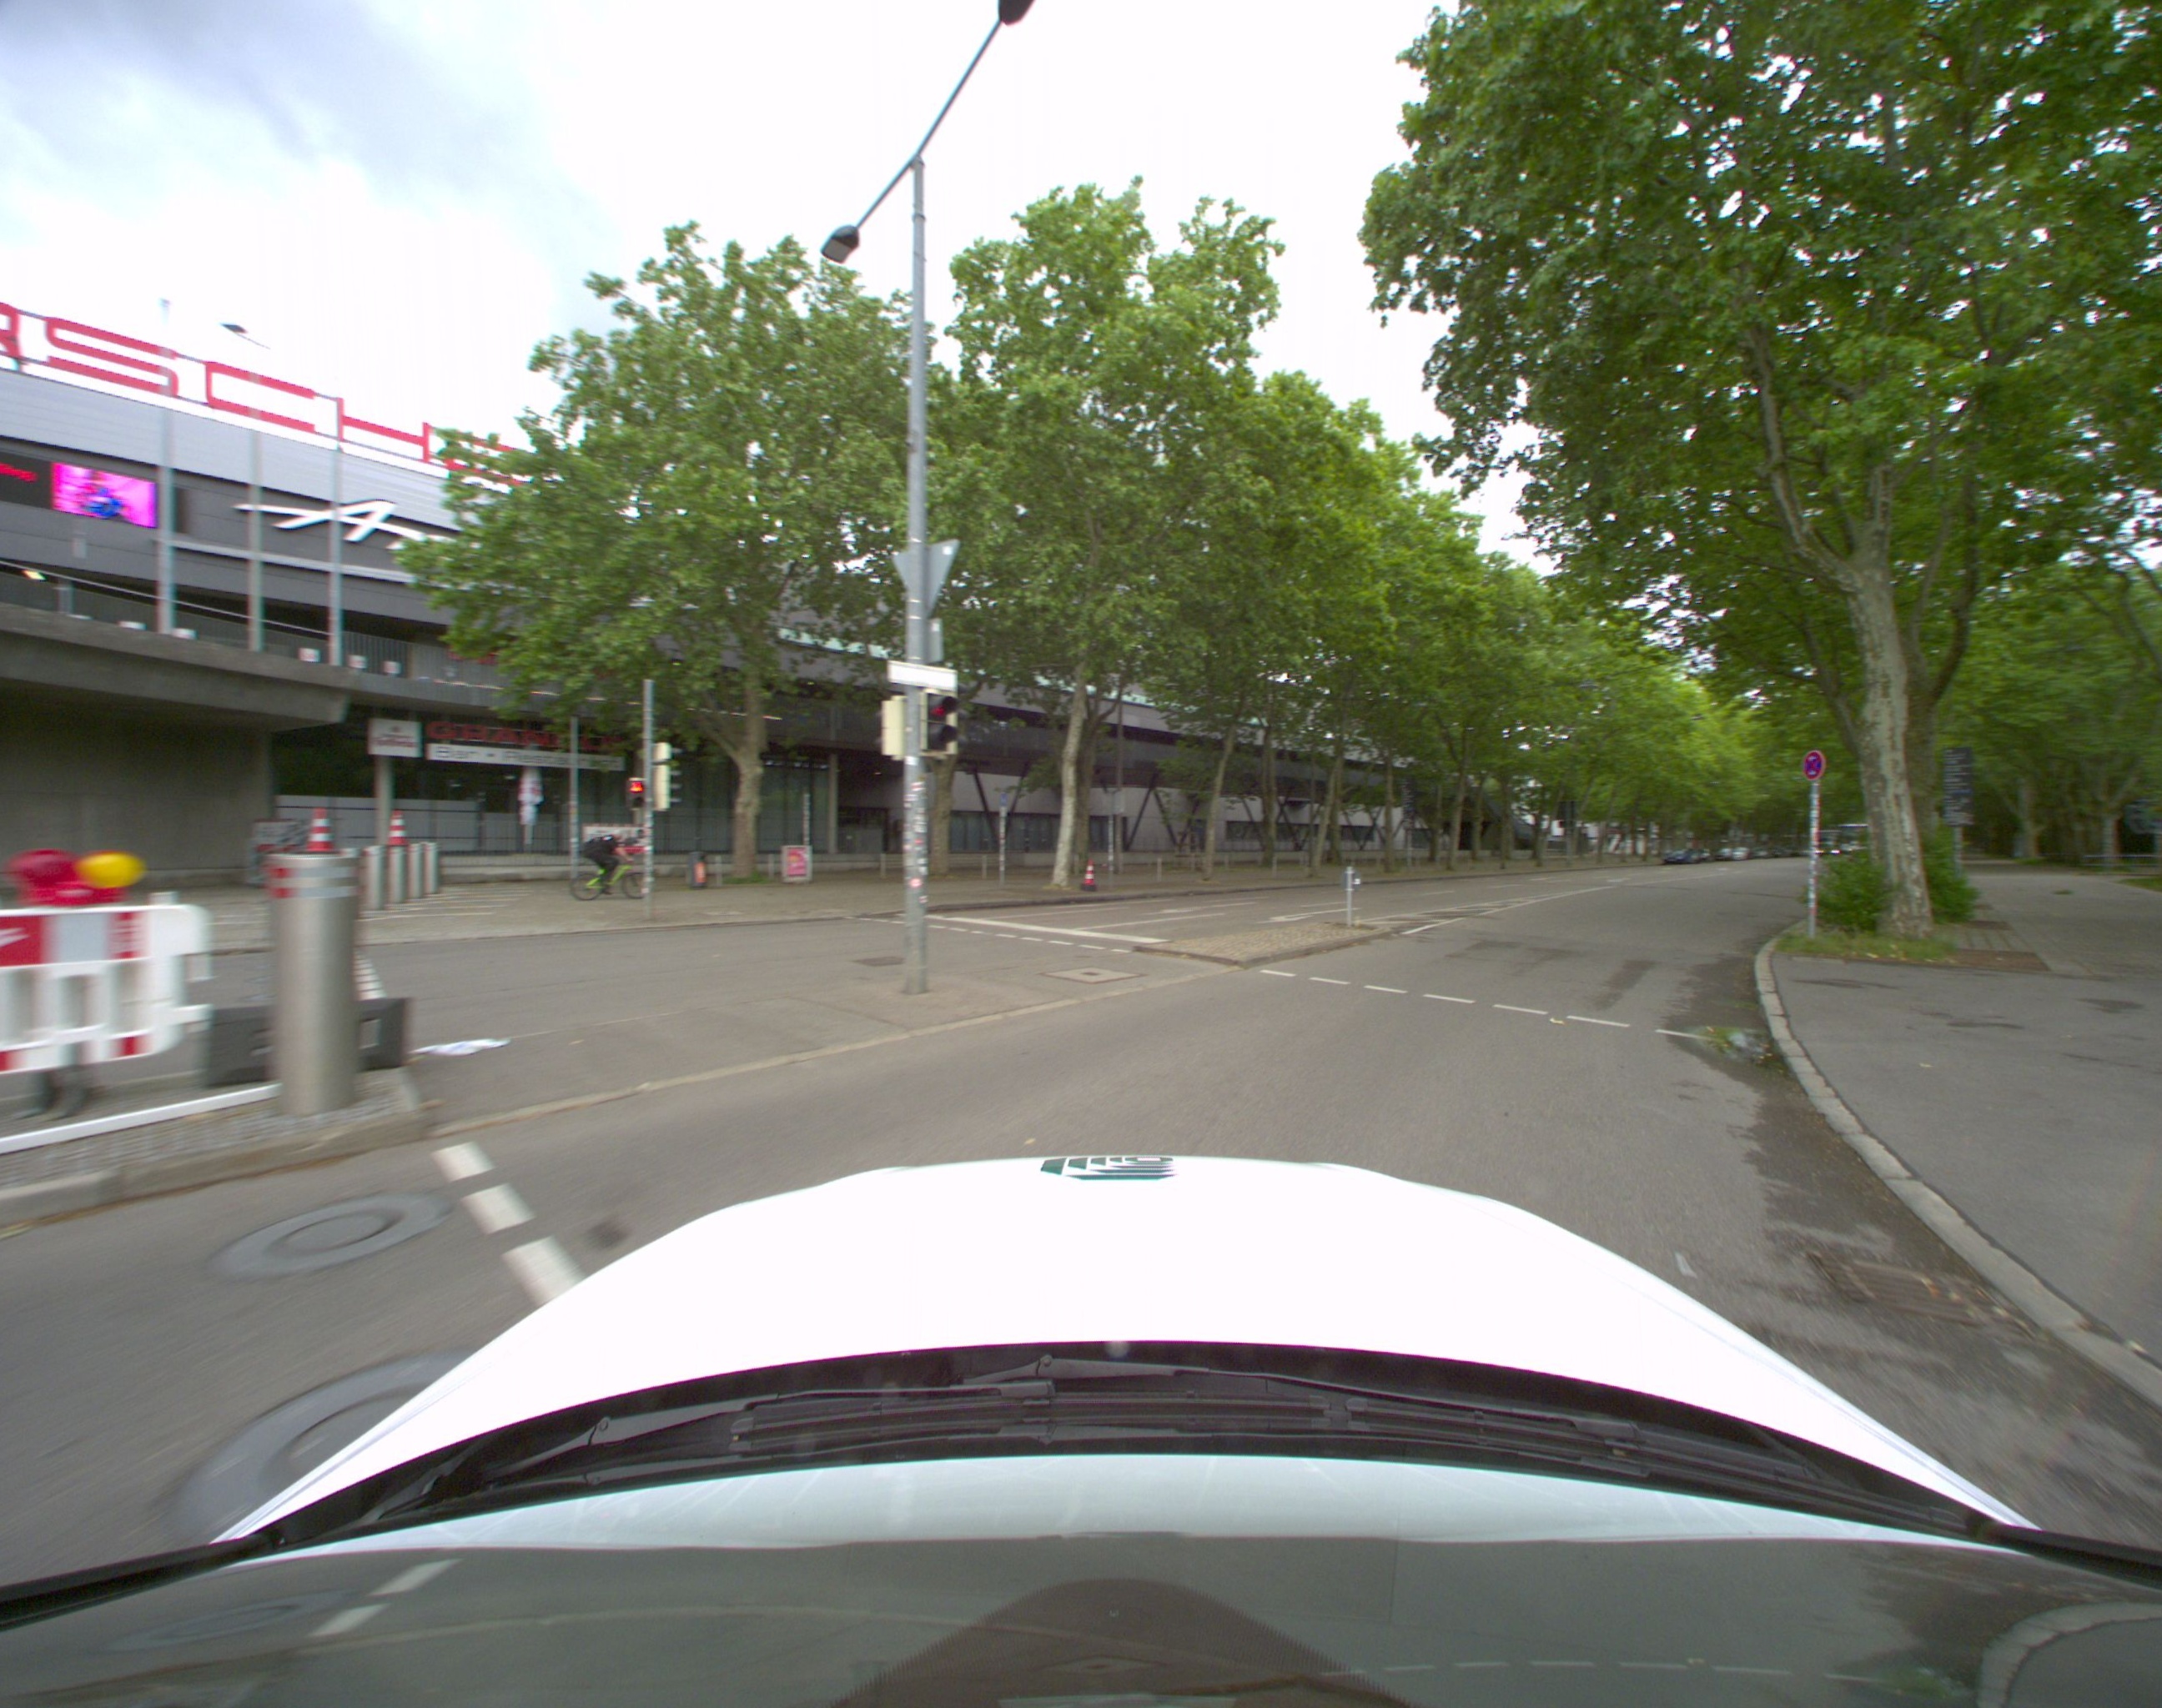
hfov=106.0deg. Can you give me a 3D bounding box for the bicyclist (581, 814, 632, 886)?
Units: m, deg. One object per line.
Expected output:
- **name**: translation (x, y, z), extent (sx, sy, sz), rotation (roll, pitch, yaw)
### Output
- **bicyclist**: translation (-11.452, -0.086, 19.674), extent (0.859, 1.698, 0.757), rotation (2, -2, -45)

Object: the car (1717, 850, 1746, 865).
- **car**: translation (68.076, 0.356, 85.212), extent (3.782, 1.419, 1.750), rotation (1, -3, -43)

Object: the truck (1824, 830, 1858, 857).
- **truck**: translation (113.122, -1.542, 121.168), extent (9.590, 3.902, 2.618), rotation (0, -1, -41)

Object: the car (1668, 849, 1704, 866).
- **car**: translation (53.564, 0.324, 72.084), extent (3.779, 1.419, 1.681), rotation (1, -3, -39)

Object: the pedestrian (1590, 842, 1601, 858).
- **pedestrian**: translation (58.962, -0.502, 93.314), extent (0.764, 1.834, 0.882), rotation (1, 1, 13)

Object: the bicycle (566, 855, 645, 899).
- **bicycle**: translation (-11.457, 0.557, 19.658), extent (1.546, 1.013, 0.510), rotation (2, -2, -45)

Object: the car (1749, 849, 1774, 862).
- **car**: translation (78.083, 0.205, 93.428), extent (4.022, 1.438, 1.878), rotation (2, -2, -44)
